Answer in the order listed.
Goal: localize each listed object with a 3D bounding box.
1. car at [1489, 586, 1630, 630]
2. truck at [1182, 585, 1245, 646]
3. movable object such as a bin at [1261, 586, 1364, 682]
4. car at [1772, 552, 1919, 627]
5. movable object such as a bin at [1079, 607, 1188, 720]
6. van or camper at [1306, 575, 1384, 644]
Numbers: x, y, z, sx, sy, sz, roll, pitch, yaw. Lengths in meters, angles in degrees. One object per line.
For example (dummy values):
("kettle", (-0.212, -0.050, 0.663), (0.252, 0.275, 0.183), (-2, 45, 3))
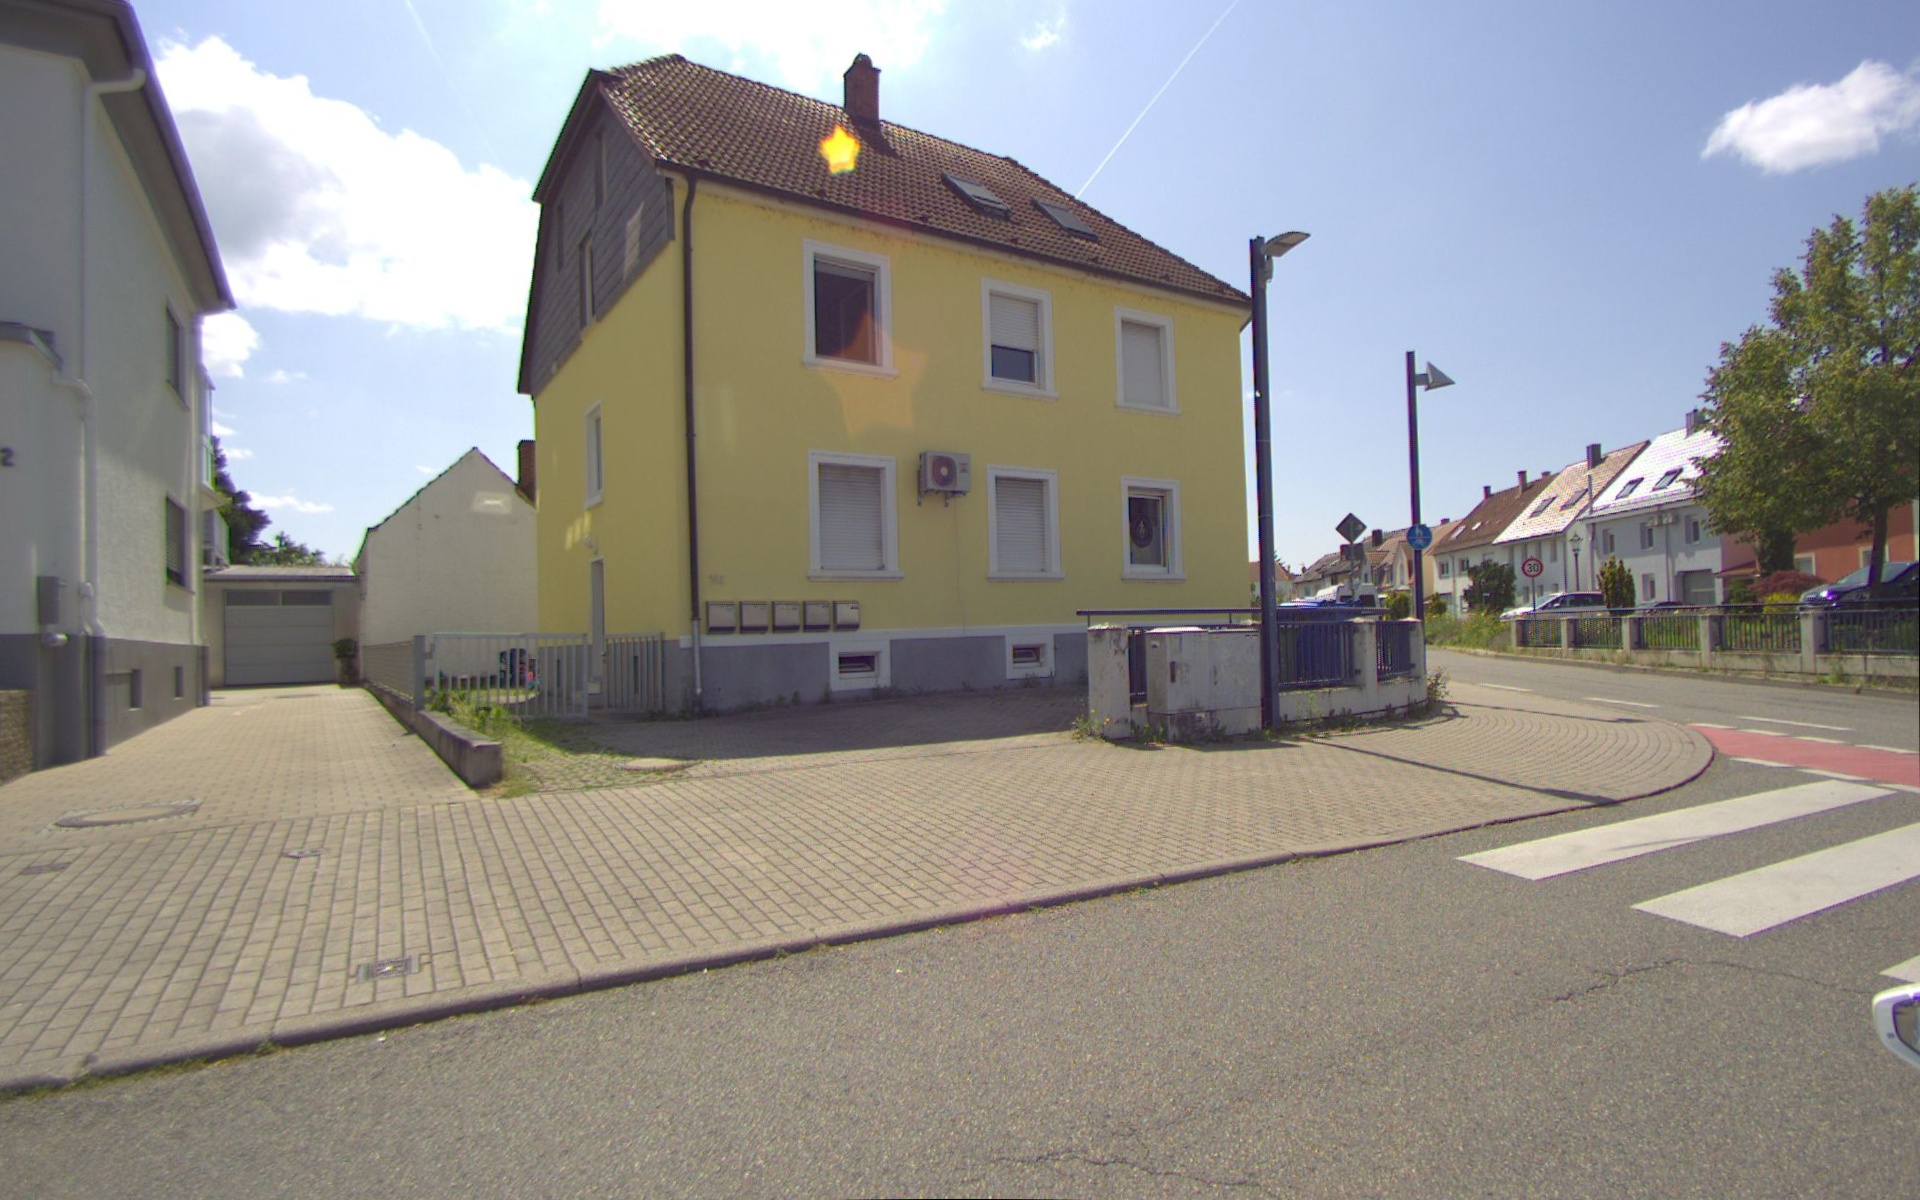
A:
("car", (22.404, 0.275, 37.632), (4.172, 1.509, 1.747), (1, 2, 1))
("truck", (13.488, 0.740, 53.954), (2.565, 2.915, 8.076), (-2, 0, 10))
("movable object such as a bin", (4.790, 0.446, 13.622), (1.268, 1.229, 0.831), (0, -1, -44))
("car", (20.832, -0.242, 22.671), (3.541, 1.608, 1.871), (1, 2, -5))
("movable object such as a bin", (2.024, 0.718, 11.767), (0.891, 1.241, 0.881), (0, -1, -29))
("van or camper", (16.178, 0.372, 42.502), (1.964, 2.665, 5.396), (2, 0, 9))
